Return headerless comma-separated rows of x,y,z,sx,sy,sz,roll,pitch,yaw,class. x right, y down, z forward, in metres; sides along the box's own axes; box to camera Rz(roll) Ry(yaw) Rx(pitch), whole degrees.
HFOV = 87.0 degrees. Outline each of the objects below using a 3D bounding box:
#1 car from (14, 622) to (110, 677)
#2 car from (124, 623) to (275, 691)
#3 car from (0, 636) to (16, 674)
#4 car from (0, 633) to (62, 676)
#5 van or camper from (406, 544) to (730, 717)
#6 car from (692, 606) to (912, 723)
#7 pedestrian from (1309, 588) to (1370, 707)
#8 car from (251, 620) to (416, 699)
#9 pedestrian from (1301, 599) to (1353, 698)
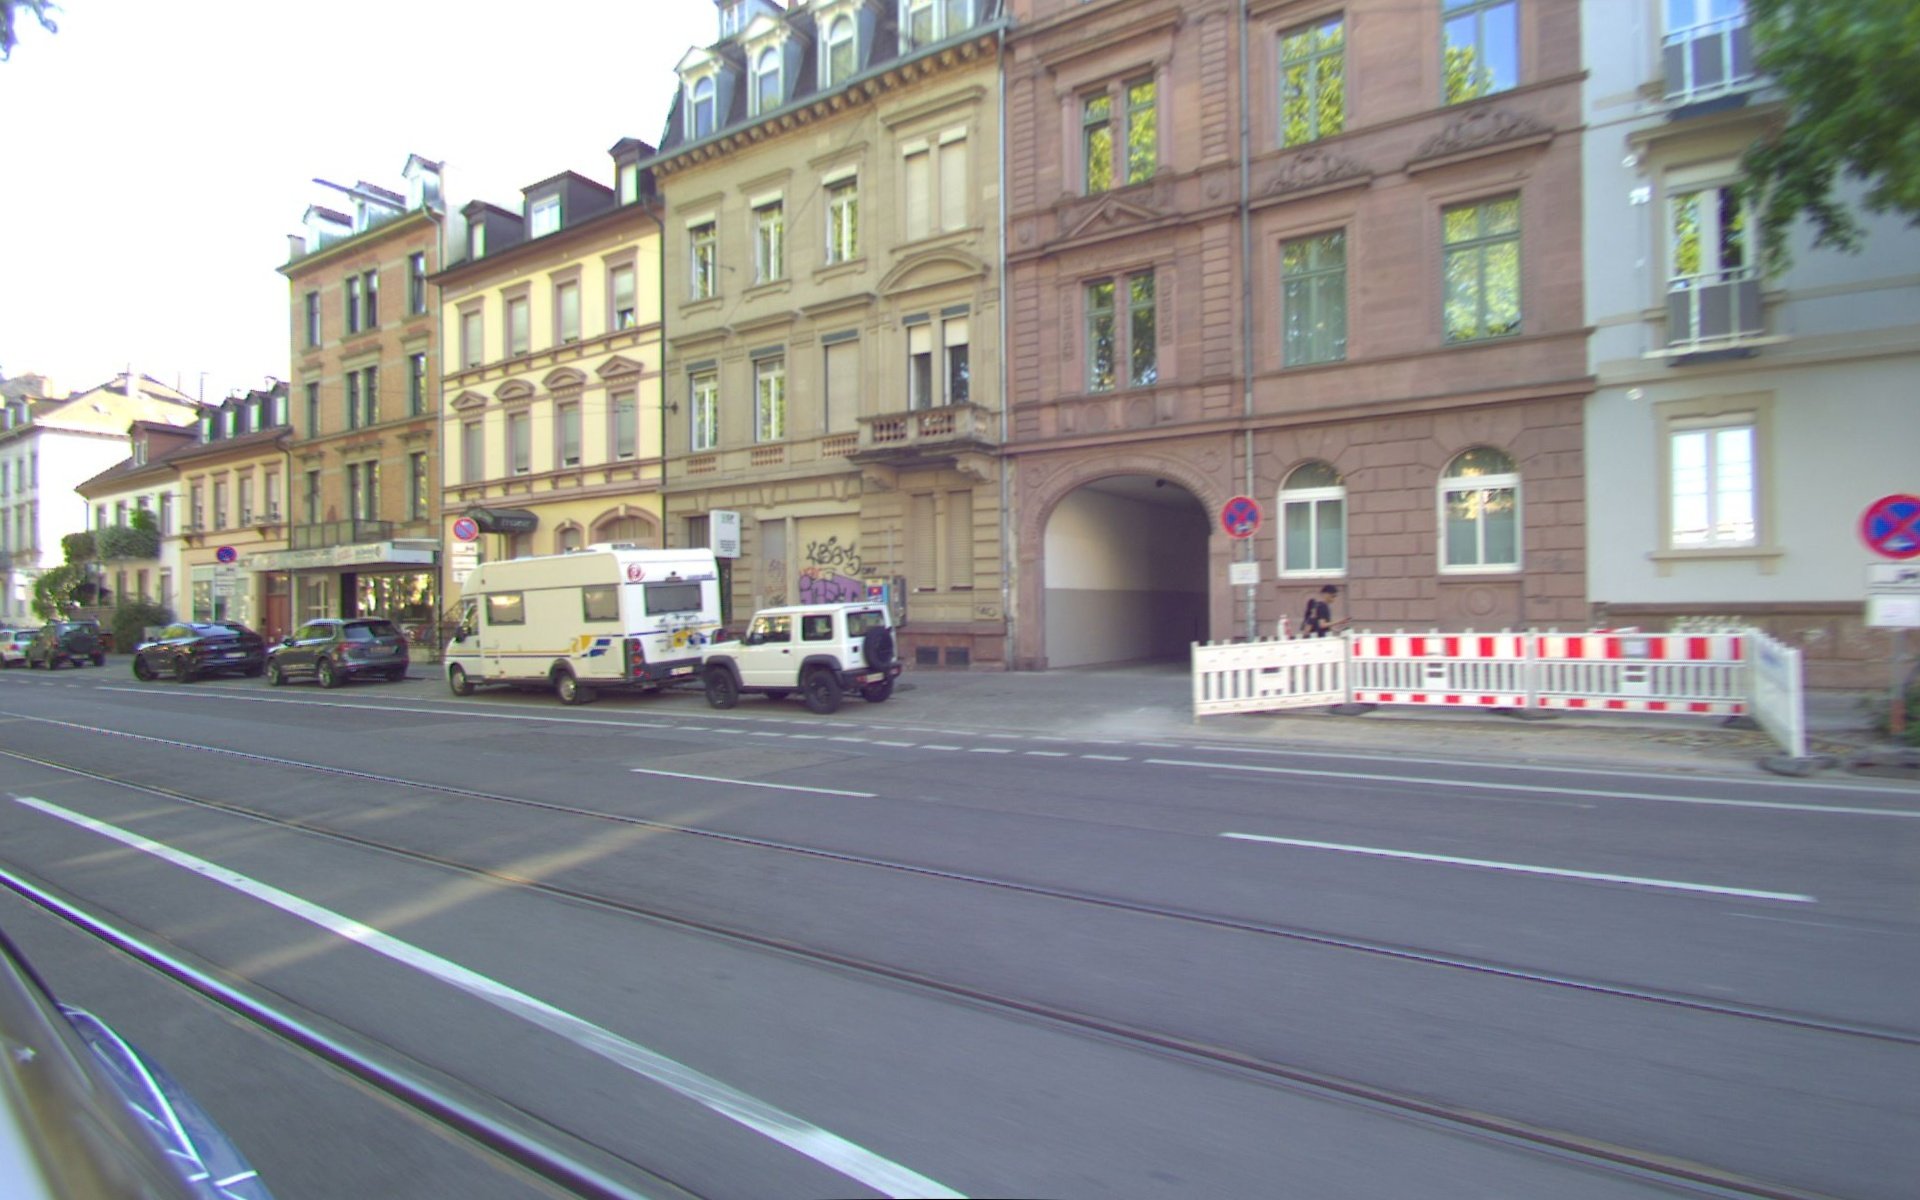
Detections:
-32.437,1.759,36.537,3.616,1.759,1.710,-2,2,35,car
-22.327,1.635,29.674,4.736,1.715,1.978,-2,2,33,car
-40.729,2.296,41.744,4.457,1.502,1.570,-2,0,34,car
-36.226,2.068,38.750,4.391,1.465,1.650,-2,1,33,car
-8.079,0.554,20.432,7.234,2.969,2.399,-2,2,35,van or camper
-2.677,1.024,17.013,3.359,1.718,1.619,-2,1,31,car
5.501,0.677,14.647,0.686,1.666,0.563,-2,0,33,pedestrian
-15.892,1.464,25.615,4.430,1.718,1.796,-2,2,33,car
5.642,0.729,15.551,0.606,1.472,0.571,-2,0,33,pedestrian
